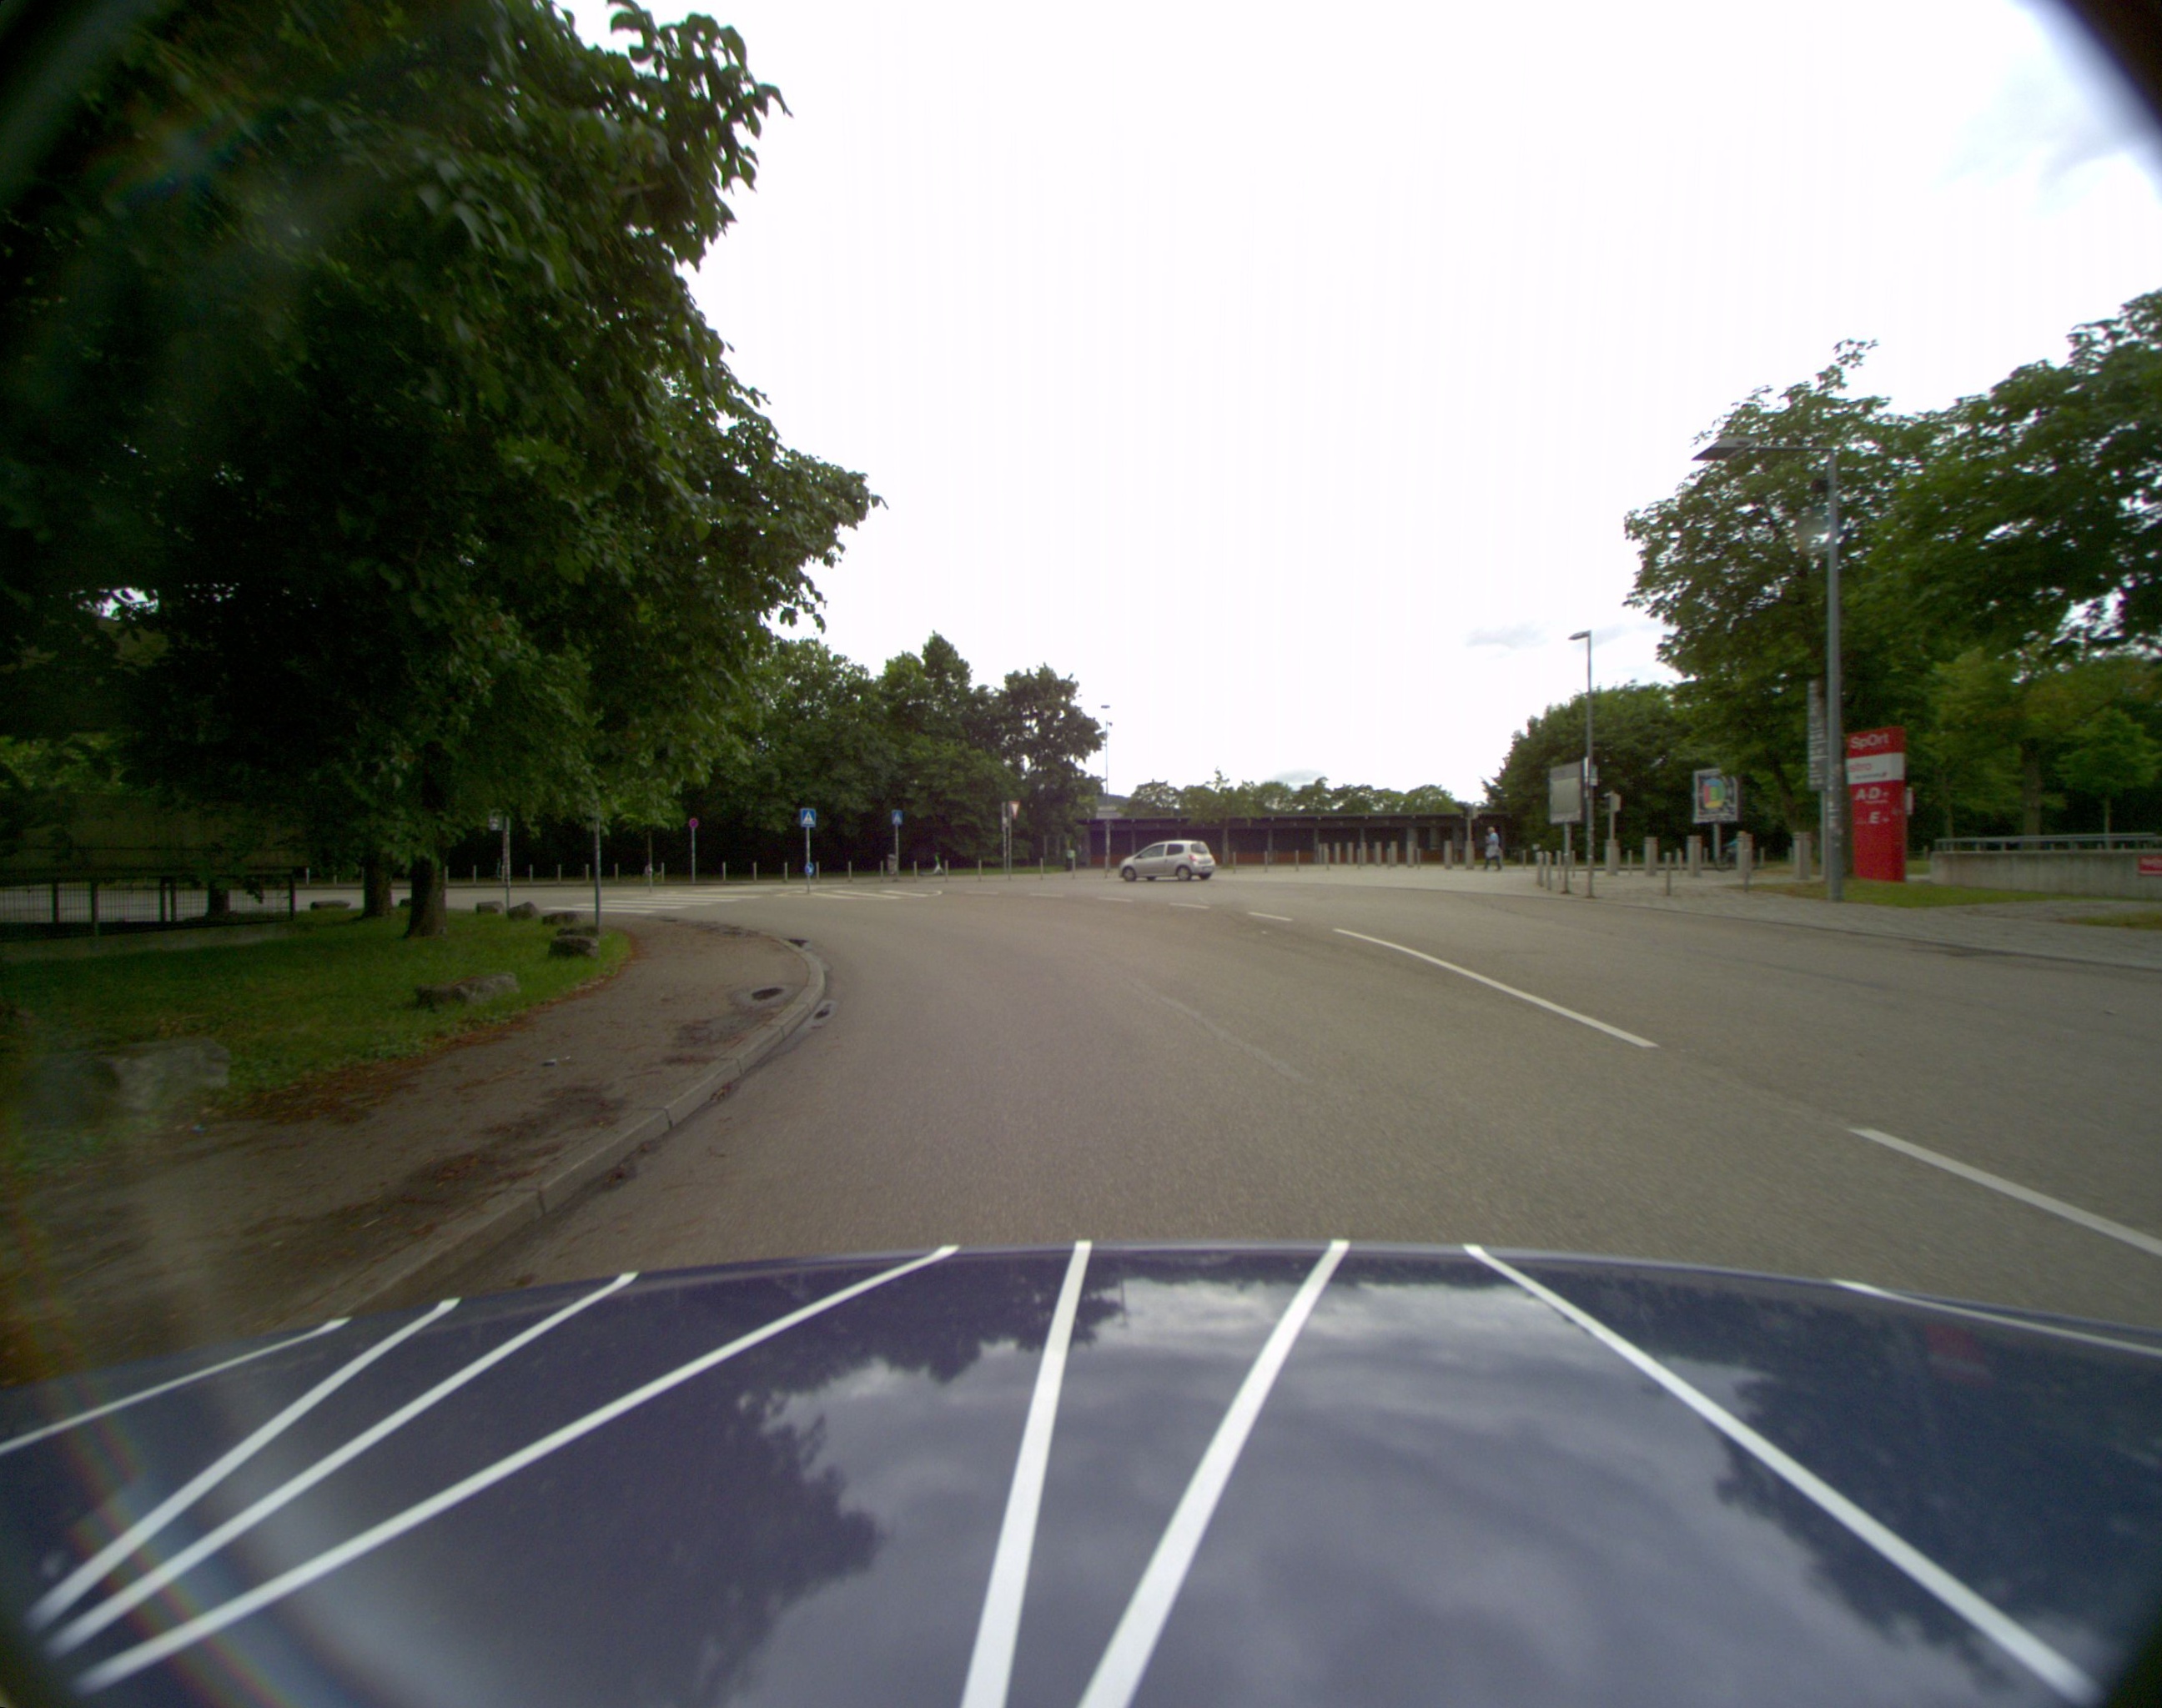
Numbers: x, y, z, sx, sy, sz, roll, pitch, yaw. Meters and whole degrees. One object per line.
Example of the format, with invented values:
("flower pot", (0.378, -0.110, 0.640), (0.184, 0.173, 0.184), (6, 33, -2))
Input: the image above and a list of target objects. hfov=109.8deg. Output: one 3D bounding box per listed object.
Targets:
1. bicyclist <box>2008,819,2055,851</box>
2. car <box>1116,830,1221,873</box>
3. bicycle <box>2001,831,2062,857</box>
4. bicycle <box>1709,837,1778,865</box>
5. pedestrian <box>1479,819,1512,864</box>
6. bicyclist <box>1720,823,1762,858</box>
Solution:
("bicyclist", (44.741, -0.904, 35.774), (1.101, 1.487, 0.927), (-2, 3, -5))
("car", (3.205, -0.094, 28.137), (3.493, 1.448, 1.610), (-1, 2, 38))
("bicycle", (44.759, -0.462, 35.792), (2.051, 1.137, 0.777), (-2, 3, -5))
("bicycle", (28.092, -0.142, 32.258), (2.256, 1.117, 0.748), (-2, 2, 1))
("pedestrian", (17.443, -0.537, 32.032), (1.198, 1.824, 0.929), (0, 3, 28))
("bicyclist", (28.002, -0.565, 32.247), (1.158, 1.422, 0.743), (-2, 2, 2))
